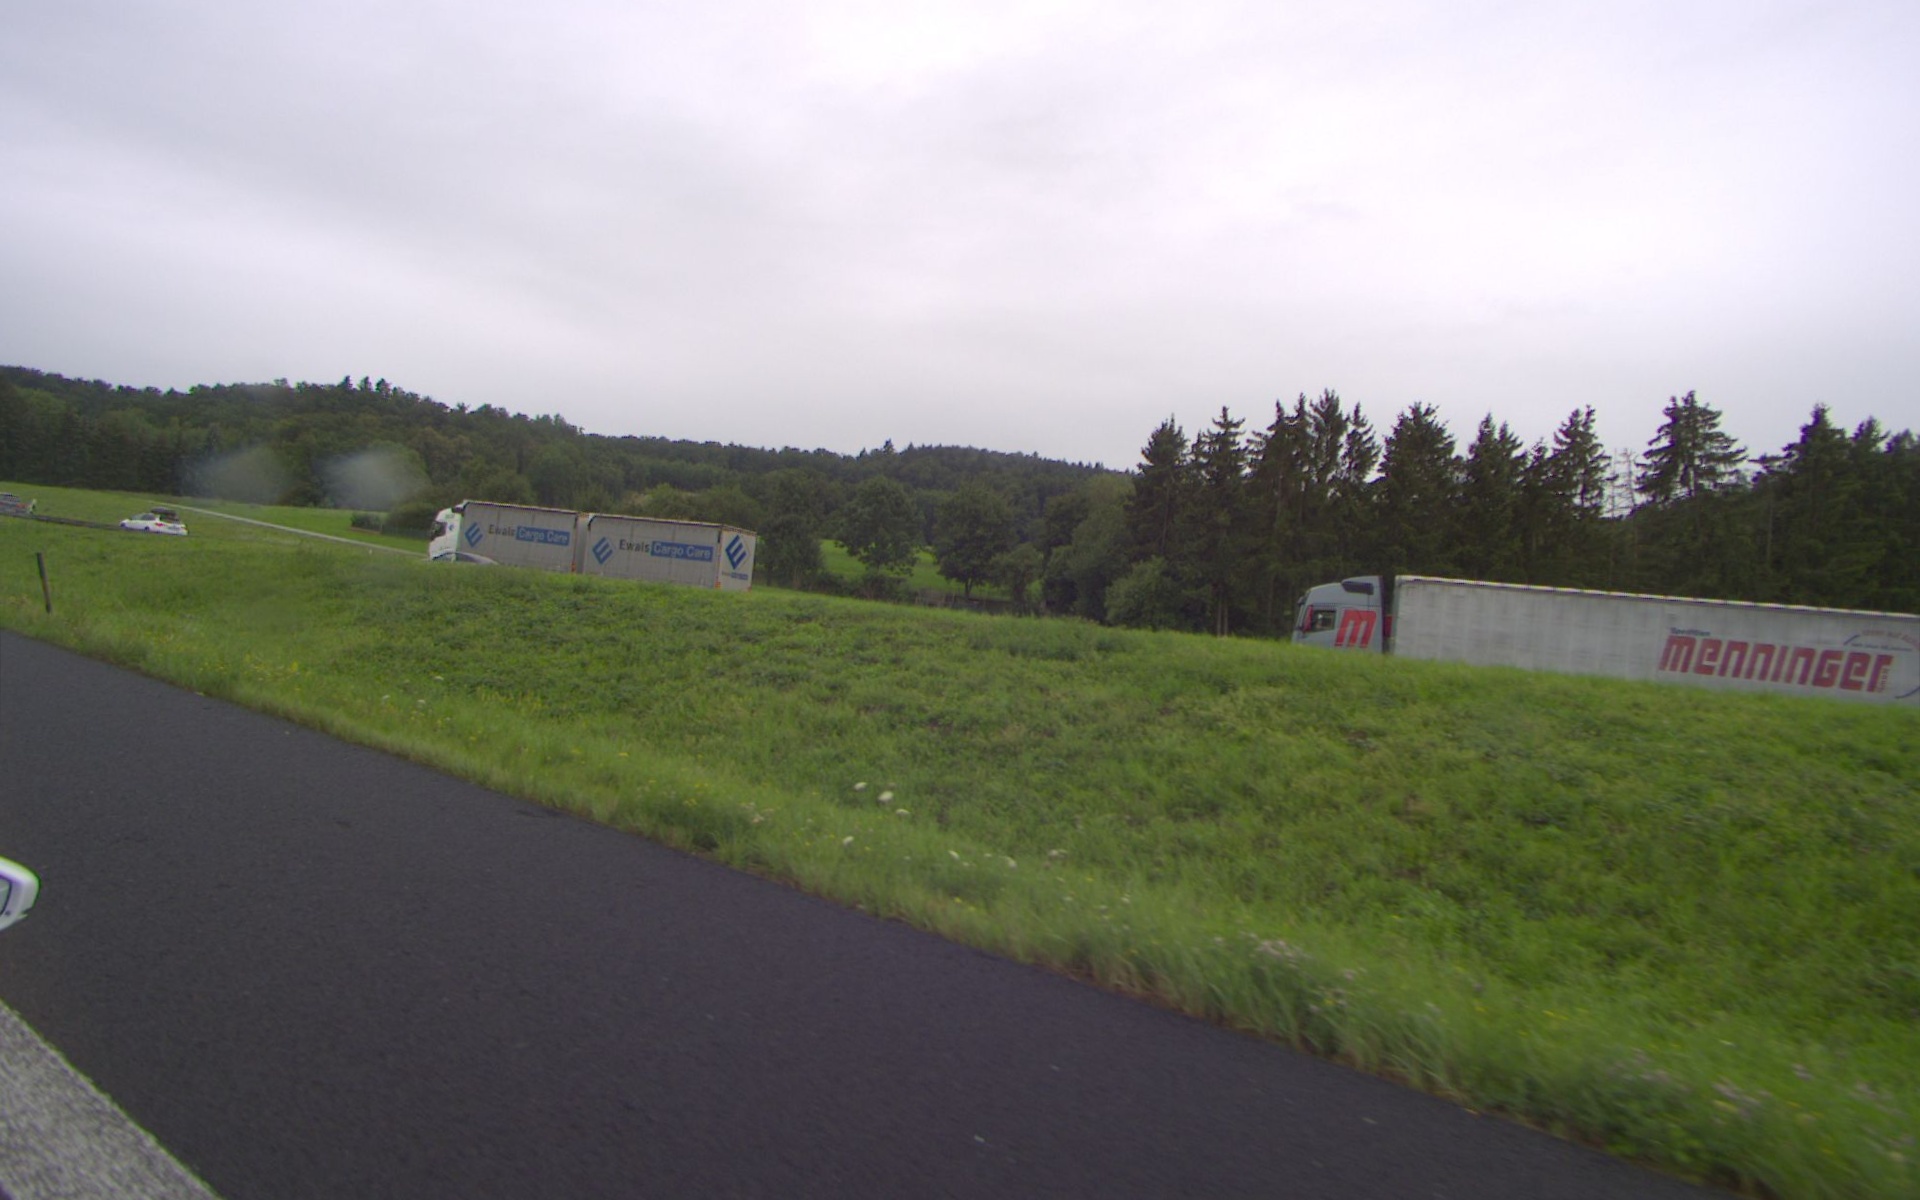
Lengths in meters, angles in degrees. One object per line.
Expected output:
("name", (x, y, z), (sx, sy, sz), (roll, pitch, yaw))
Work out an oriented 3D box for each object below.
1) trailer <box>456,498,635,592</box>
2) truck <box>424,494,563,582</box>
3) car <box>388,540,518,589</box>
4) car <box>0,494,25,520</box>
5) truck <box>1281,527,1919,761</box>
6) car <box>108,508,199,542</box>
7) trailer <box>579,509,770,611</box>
("trailer", (-20.382, -2.719, 49.350), (8.268, 3.567, 2.948), (7, -2, 25))
("truck", (-23.542, -3.142, 50.818), (5.821, 3.567, 2.948), (7, -2, 25))
("car", (-21.049, -1.484, 41.725), (5.225, 1.393, 1.992), (6, -2, 27))
("car", (-56.243, -5.524, 58.479), (3.472, 1.303, 1.544), (6, -2, 26))
("truck", (18.159, 1.055, 28.455), (16.584, 4.595, 3.831), (6, -1, 26))
("car", (-47.353, -4.394, 59.048), (4.987, 1.393, 1.992), (7, -1, 24))
("trailer", (-13.058, -1.854, 45.956), (7.939, 3.567, 3.089), (7, -2, 25))
